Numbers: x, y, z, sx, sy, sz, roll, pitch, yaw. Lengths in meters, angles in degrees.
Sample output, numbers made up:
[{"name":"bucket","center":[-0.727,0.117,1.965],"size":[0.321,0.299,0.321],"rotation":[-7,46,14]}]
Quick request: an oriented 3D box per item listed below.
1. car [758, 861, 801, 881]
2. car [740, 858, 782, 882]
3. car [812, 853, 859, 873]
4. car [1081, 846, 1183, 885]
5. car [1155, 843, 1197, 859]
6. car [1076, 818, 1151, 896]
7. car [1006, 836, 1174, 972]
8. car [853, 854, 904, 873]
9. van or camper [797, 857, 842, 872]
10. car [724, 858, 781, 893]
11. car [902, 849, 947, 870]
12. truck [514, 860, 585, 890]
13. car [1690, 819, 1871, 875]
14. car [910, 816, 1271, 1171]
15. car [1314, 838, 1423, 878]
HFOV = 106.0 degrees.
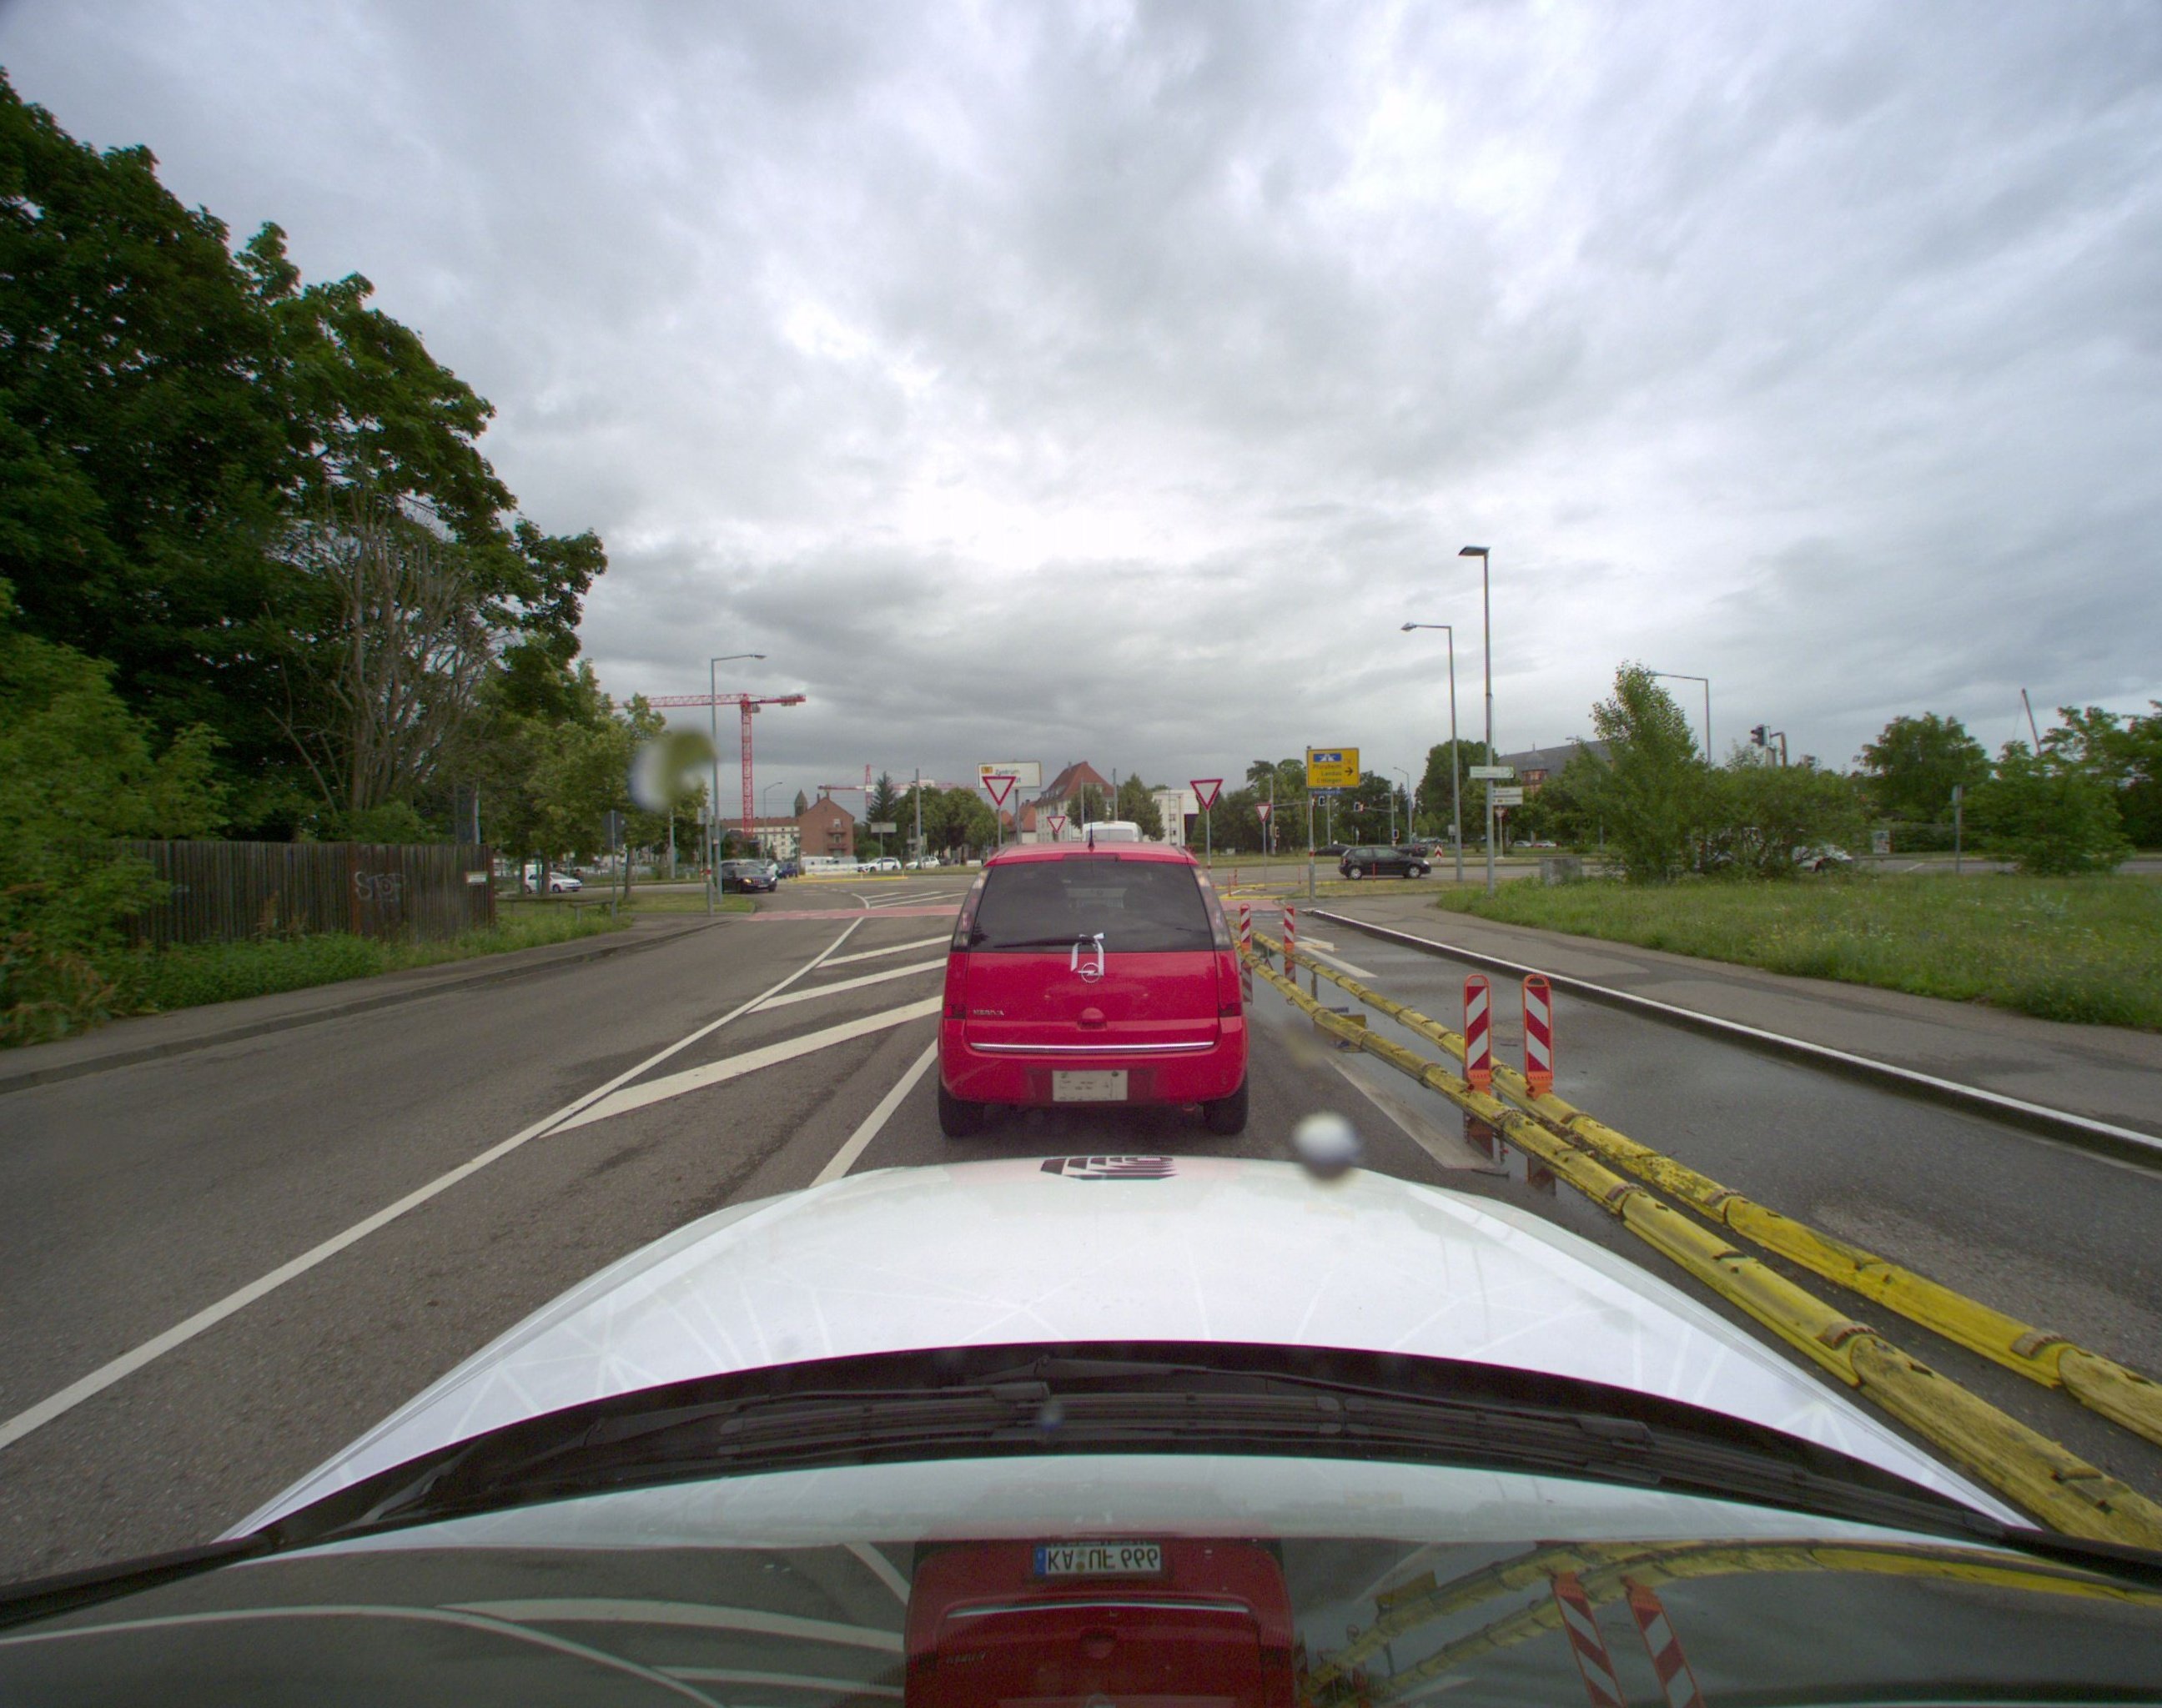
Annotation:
[{"name":"car","center":[-25.239,1.377,68.333],"size":[1.923,1.489,4.002],"rotation":[-2,0,2]},{"name":"car","center":[-24.687,1.186,62.946],"size":[1.928,1.684,4.180],"rotation":[-2,0,-6]},{"name":"car","center":[-26.780,0.950,88.849],"size":[4.490,2.013,1.981],"rotation":[-2,0,-29]},{"name":"car","center":[2.353,0.496,37.084],"size":[4.400,1.602,2.104],"rotation":[-2,0,9]},{"name":"car","center":[11.992,-0.368,103.089],"size":[4.826,1.917,2.129],"rotation":[-2,0,36]},{"name":"car","center":[1.258,0.094,29.034],"size":[2.183,2.540,4.973],"rotation":[-1,0,7]},{"name":"car","center":[0.184,0.606,12.308],"size":[2.052,1.648,4.609],"rotation":[-1,0,2]},{"name":"car","center":[-20.165,0.930,81.239],"size":[1.974,1.635,4.705],"rotation":[-2,0,37]},{"name":"van or camper","center":[-39.432,1.609,122.780],"size":[6.135,2.013,2.007],"rotation":[-2,0,12]},{"name":"car","center":[-17.411,1.111,43.111],"size":[2.008,1.684,3.958],"rotation":[-2,0,-34]},{"name":"car","center":[-16.463,0.593,85.768],"size":[1.974,2.013,4.509],"rotation":[-2,0,37]},{"name":"truck","center":[-38.536,1.532,59.043],"size":[3.961,2.013,2.006],"rotation":[-2,0,11]},{"name":"car","center":[26.383,-0.246,30.957],"size":[4.789,1.900,2.111],"rotation":[-2,0,24]},{"name":"car","center":[0.098,0.643,5.605],"size":[1.667,1.640,3.629],"rotation":[-1,0,2]},{"name":"car","center":[12.660,0.179,36.139],"size":[4.391,1.602,2.108],"rotation":[-2,0,16]}]
